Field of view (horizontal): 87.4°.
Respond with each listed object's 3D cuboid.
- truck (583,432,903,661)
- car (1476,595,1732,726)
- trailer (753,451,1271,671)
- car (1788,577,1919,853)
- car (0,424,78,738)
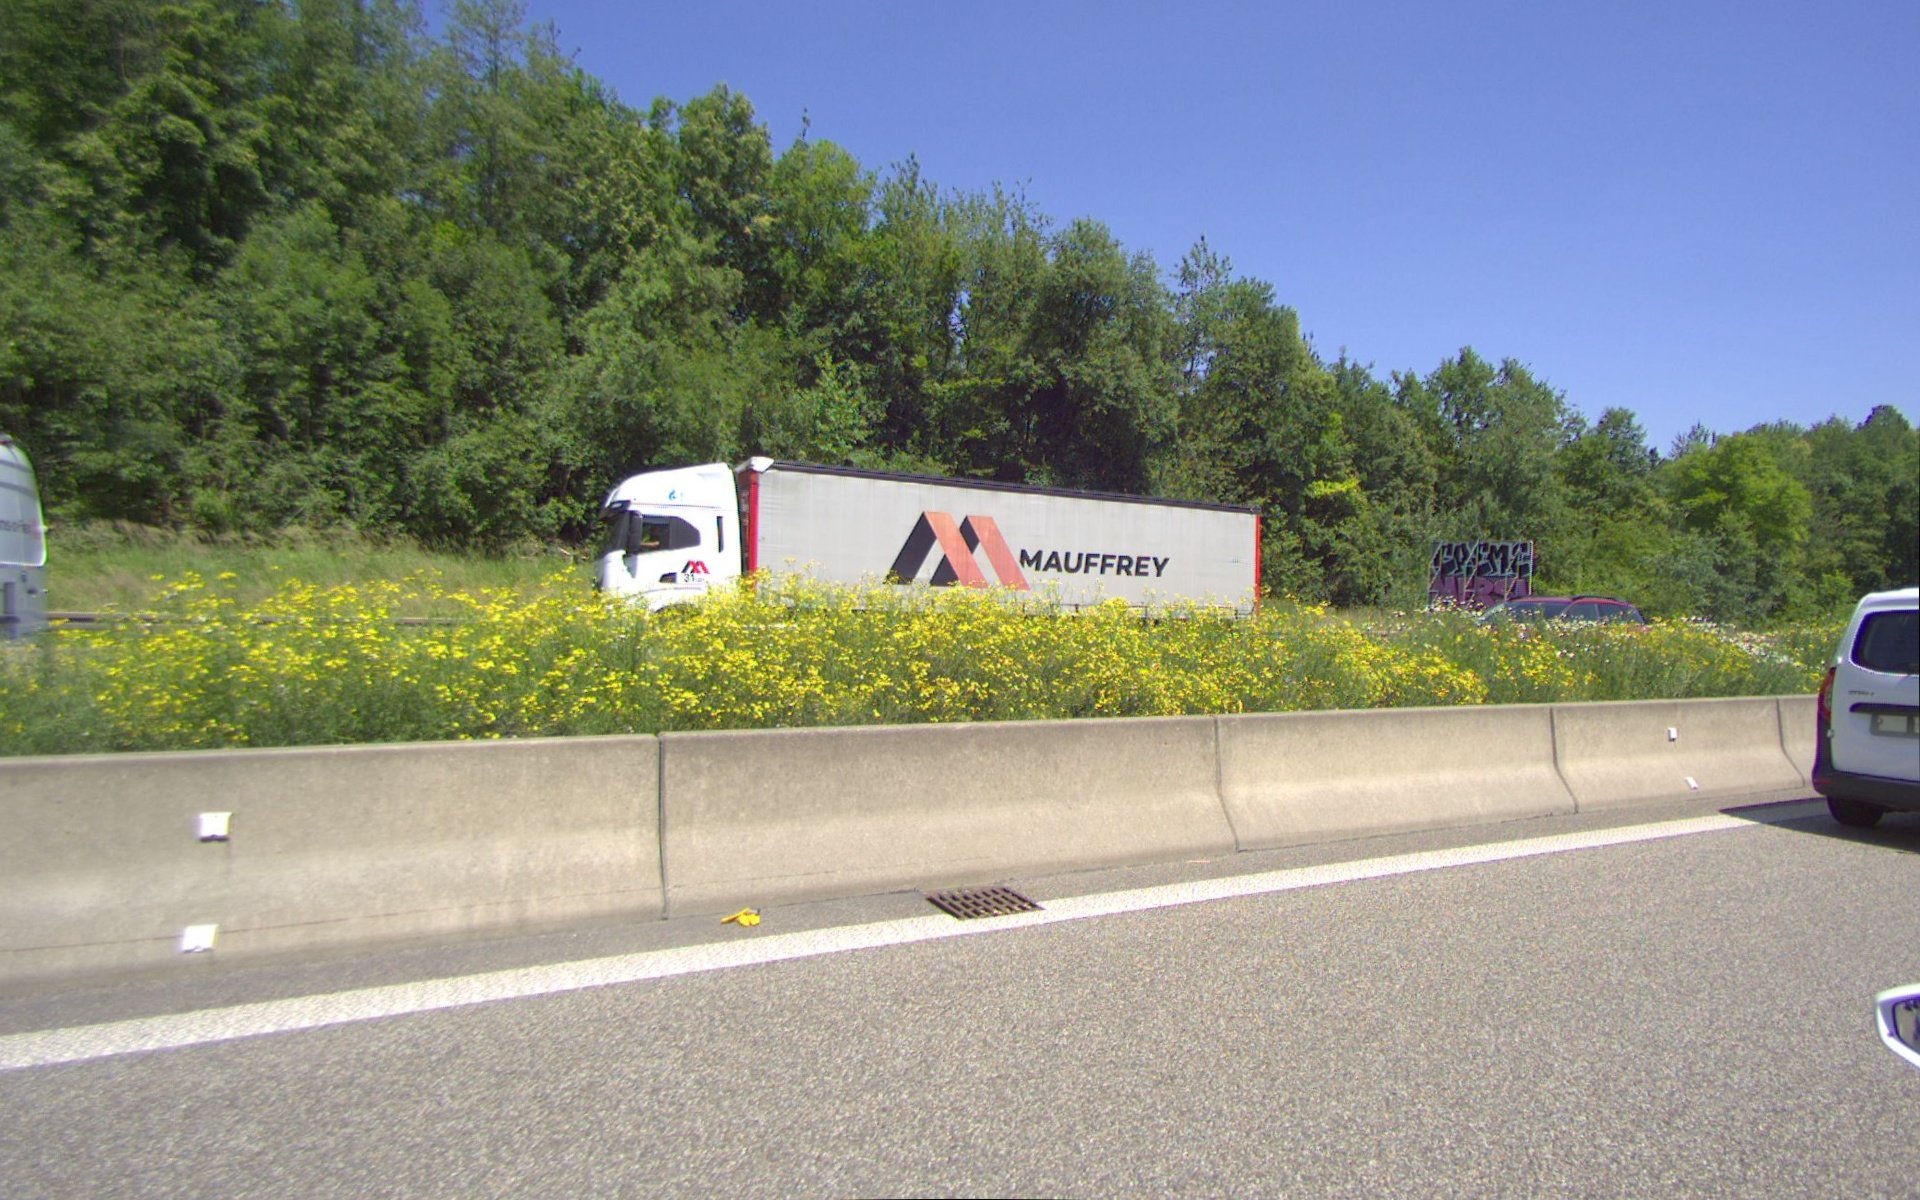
[{"bbox_3d":[-4.616,-0.924,21.396,6.009,4.161,2.954,3,-1,-26],"label":"truck"},{"bbox_3d":[11.221,1.035,17.492,3.948,2.040,1.987,3,-1,-27],"label":"car"},{"bbox_3d":[1.706,-0.587,24.651,12.898,4.287,2.915,3,-1,-27],"label":"trailer"},{"bbox_3d":[8.492,0.830,7.628,4.615,1.837,1.758,2,-1,-28],"label":"car"},{"bbox_3d":[-12.668,-0.262,8.568,7.366,2.934,2.061,2,0,-27],"label":"car"}]
